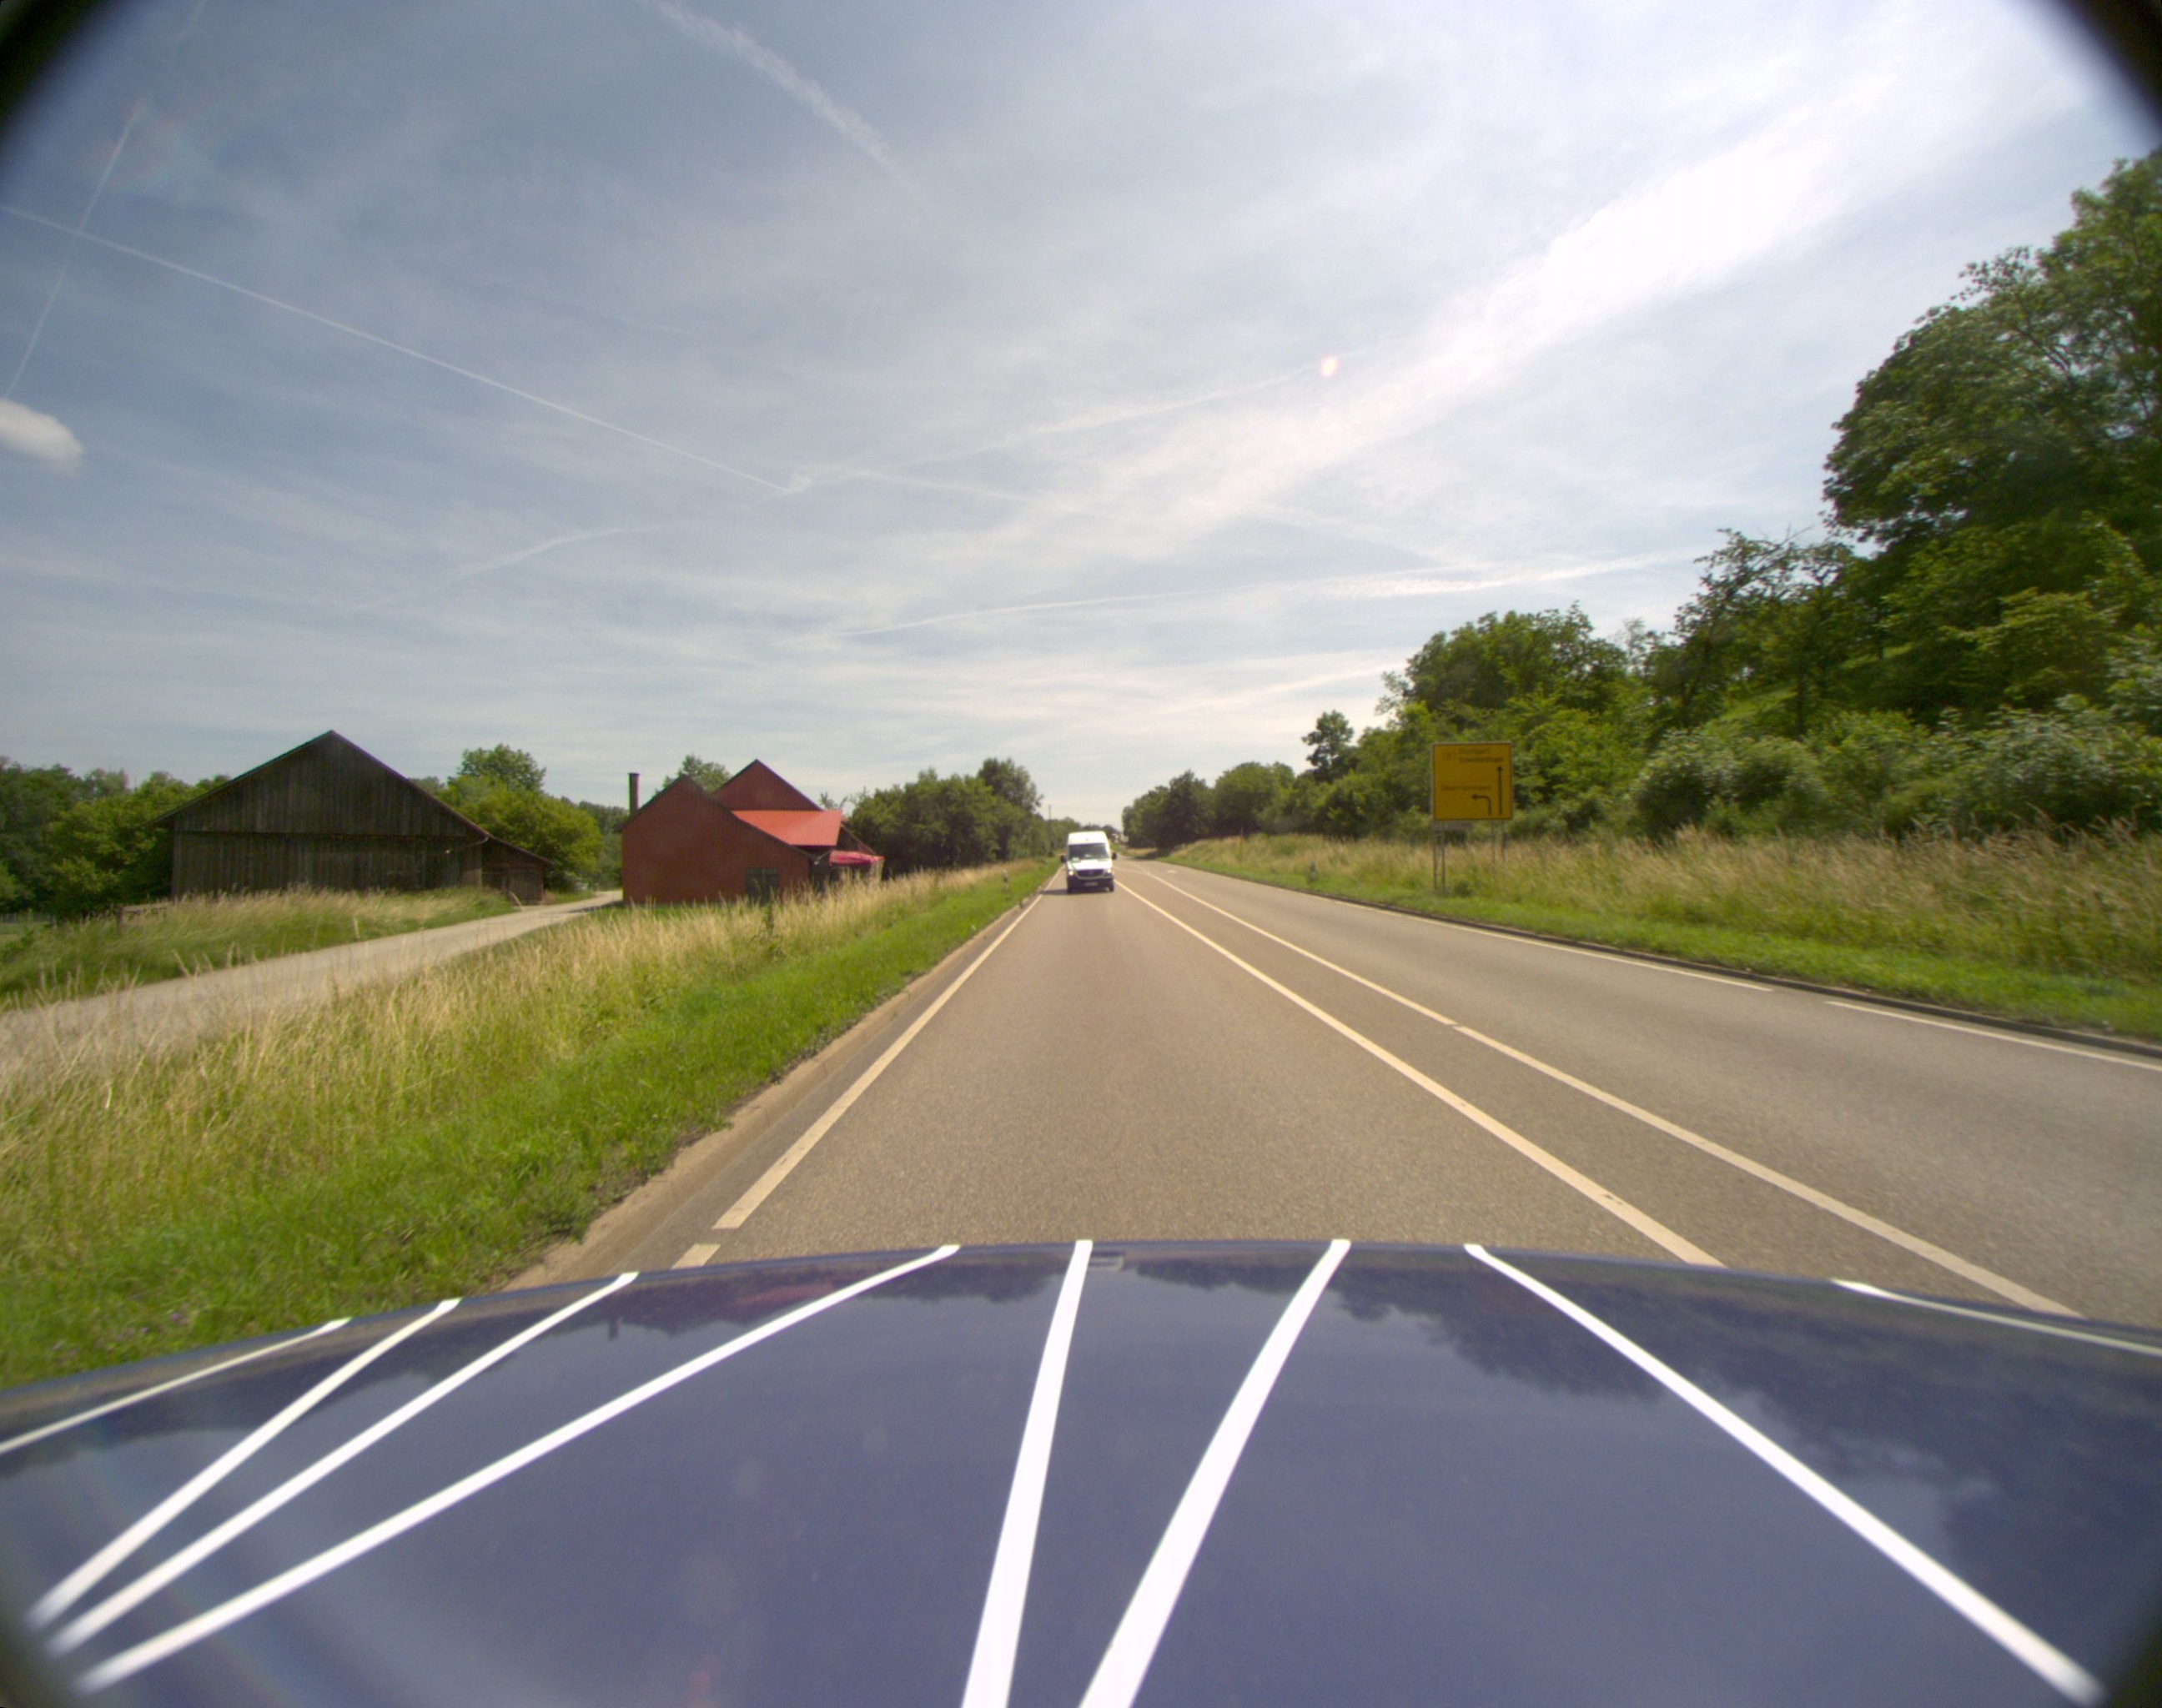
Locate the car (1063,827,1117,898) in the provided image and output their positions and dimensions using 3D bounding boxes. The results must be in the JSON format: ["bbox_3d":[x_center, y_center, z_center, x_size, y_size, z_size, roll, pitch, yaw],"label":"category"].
[{"bbox_3d":[0.460,0.279,32.162,1.960,2.656,5.681,-3,1,2],"label":"car"}]
